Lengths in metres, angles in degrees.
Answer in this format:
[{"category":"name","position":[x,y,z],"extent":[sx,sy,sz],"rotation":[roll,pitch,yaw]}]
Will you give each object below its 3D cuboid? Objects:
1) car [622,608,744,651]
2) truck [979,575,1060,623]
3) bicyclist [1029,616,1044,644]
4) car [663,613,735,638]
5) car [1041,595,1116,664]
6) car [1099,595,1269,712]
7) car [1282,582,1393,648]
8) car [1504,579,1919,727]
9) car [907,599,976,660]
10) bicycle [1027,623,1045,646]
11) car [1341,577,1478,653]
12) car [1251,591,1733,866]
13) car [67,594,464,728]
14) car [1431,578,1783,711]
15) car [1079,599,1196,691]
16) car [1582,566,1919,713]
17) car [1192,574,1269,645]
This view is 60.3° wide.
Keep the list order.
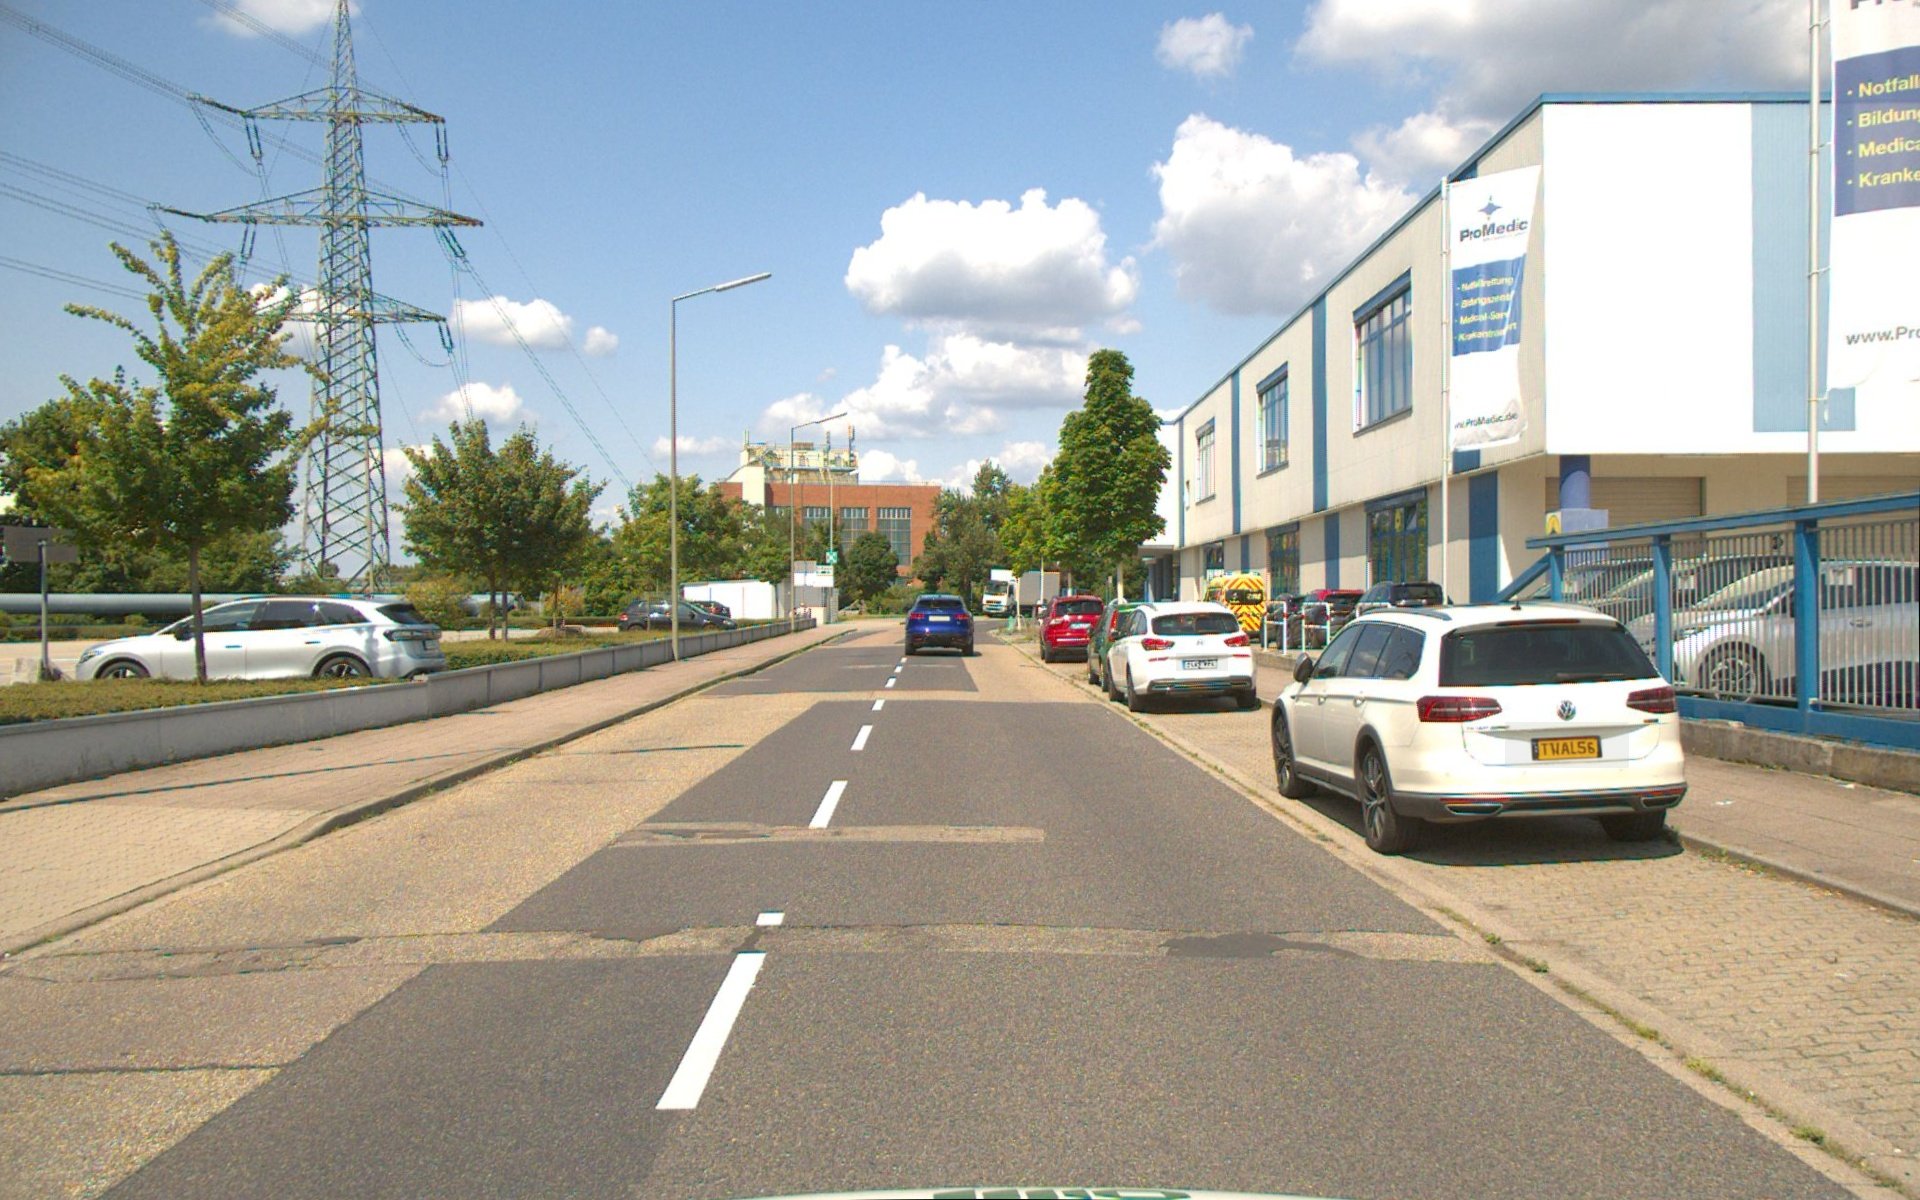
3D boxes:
[{"category":"car","position":[-9.483,1.007,56.868],"extent":[3.906,1.400,1.803],"rotation":[0,0,-1]},{"category":"truck","position":[4.759,-0.108,129.430],"extent":[2.277,3.630,9.350],"rotation":[1,1,29]},{"category":"bicyclist","position":[3.912,1.554,84.967],"extent":[0.649,1.422,0.859],"rotation":[0,0,11]},{"category":"car","position":[-14.974,1.437,94.934],"extent":[3.917,1.402,1.798],"rotation":[0,0,34]},{"category":"car","position":[3.031,0.740,43.008],"extent":[1.719,1.679,4.678],"rotation":[0,-1,1]},{"category":"car","position":[3.175,0.738,24.304],"extent":[1.798,1.547,4.460],"rotation":[0,-1,-1]},{"category":"car","position":[10.081,0.435,44.512],"extent":[1.953,1.686,4.289],"rotation":[0,-2,-1]},{"category":"car","position":[9.028,0.610,20.049],"extent":[4.141,1.676,2.147],"rotation":[0,0,-2]},{"category":"car","position":[-0.555,0.813,46.999],"extent":[1.871,1.621,4.700],"rotation":[0,-1,-1]},{"category":"bicycle","position":[3.895,1.780,84.815],"extent":[0.652,1.128,2.169],"rotation":[0,0,10]},{"category":"car","position":[10.129,0.395,37.611],"extent":[1.790,1.539,4.639],"rotation":[0,-3,-1]},{"category":"car","position":[3.419,0.749,11.650],"extent":[1.830,1.547,4.596],"rotation":[0,-1,-1]},{"category":"car","position":[-9.545,0.816,23.072],"extent":[4.661,1.630,1.998],"rotation":[-2,0,-5]},{"category":"car","position":[8.703,0.573,22.508],"extent":[4.002,1.715,1.999],"rotation":[0,0,-2]},{"category":"car","position":[3.148,0.775,29.919],"extent":[1.634,1.547,3.994],"rotation":[0,-1,-1]},{"category":"car","position":[9.141,0.388,17.719],"extent":[4.192,1.445,2.000],"rotation":[-1,0,-1]},{"category":"car","position":[9.892,0.356,60.833],"extent":[1.884,2.507,5.258],"rotation":[0,-1,-1]}]
